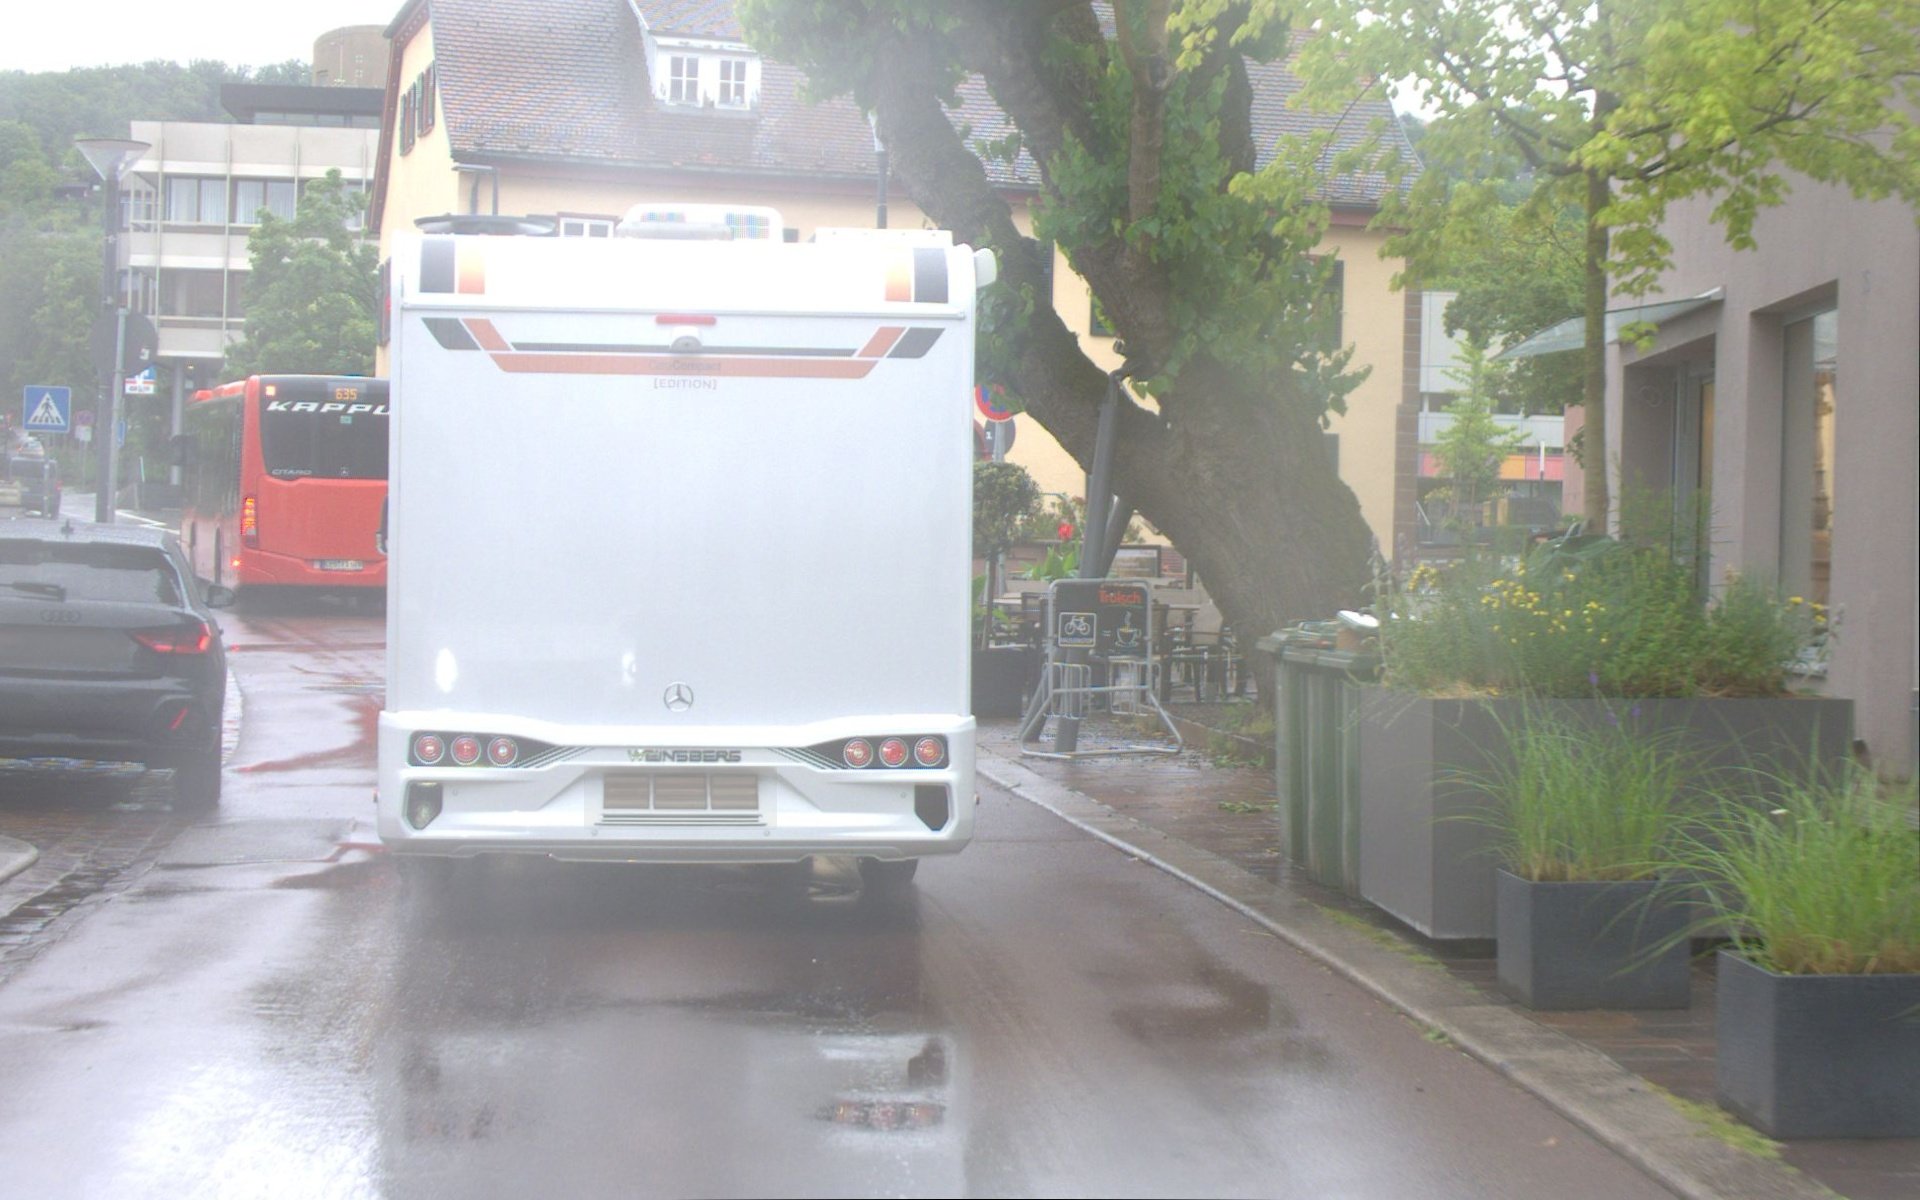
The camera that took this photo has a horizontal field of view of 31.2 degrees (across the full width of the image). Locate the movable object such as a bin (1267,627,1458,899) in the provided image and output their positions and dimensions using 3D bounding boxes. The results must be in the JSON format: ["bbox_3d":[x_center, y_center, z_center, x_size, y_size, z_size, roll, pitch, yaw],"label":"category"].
[{"bbox_3d":[1.675,0.671,14.368,0.692,1.098,0.562,1,0,-3],"label":"movable object such as a bin"}]

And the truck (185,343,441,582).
[{"bbox_3d":[-8.778,-1.729,46.135,2.461,2.929,6.200,1,0,-19],"label":"truck"}]

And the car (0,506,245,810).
[{"bbox_3d":[-5.159,0.239,19.416,1.993,1.489,4.001,2,1,-14],"label":"car"}]

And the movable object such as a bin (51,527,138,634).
[{"bbox_3d":[-8.730,-0.195,34.653,0.818,1.047,0.700,1,0,-15],"label":"movable object such as a bin"}]

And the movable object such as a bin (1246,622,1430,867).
[{"bbox_3d":[1.709,0.648,15.601,0.728,1.076,0.577,1,0,-3],"label":"movable object such as a bin"}]

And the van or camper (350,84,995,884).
[{"bbox_3d":[-1.430,-0.419,15.879,2.325,2.909,6.394,1,0,-7],"label":"van or camper"}]

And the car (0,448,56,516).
[{"bbox_3d":[-29.990,-3.752,109.608,1.993,2.007,4.001,1,0,-18],"label":"car"}]

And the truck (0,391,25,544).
[{"bbox_3d":[-19.269,-2.500,65.749,2.279,2.748,5.570,1,0,-19],"label":"truck"}]

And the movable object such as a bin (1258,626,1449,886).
[{"bbox_3d":[1.712,0.672,15.037,0.728,1.098,0.562,1,0,-3],"label":"movable object such as a bin"}]

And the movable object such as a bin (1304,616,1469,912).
[{"bbox_3d":[1.704,0.644,13.781,0.543,1.152,0.577,1,0,-3],"label":"movable object such as a bin"}]
